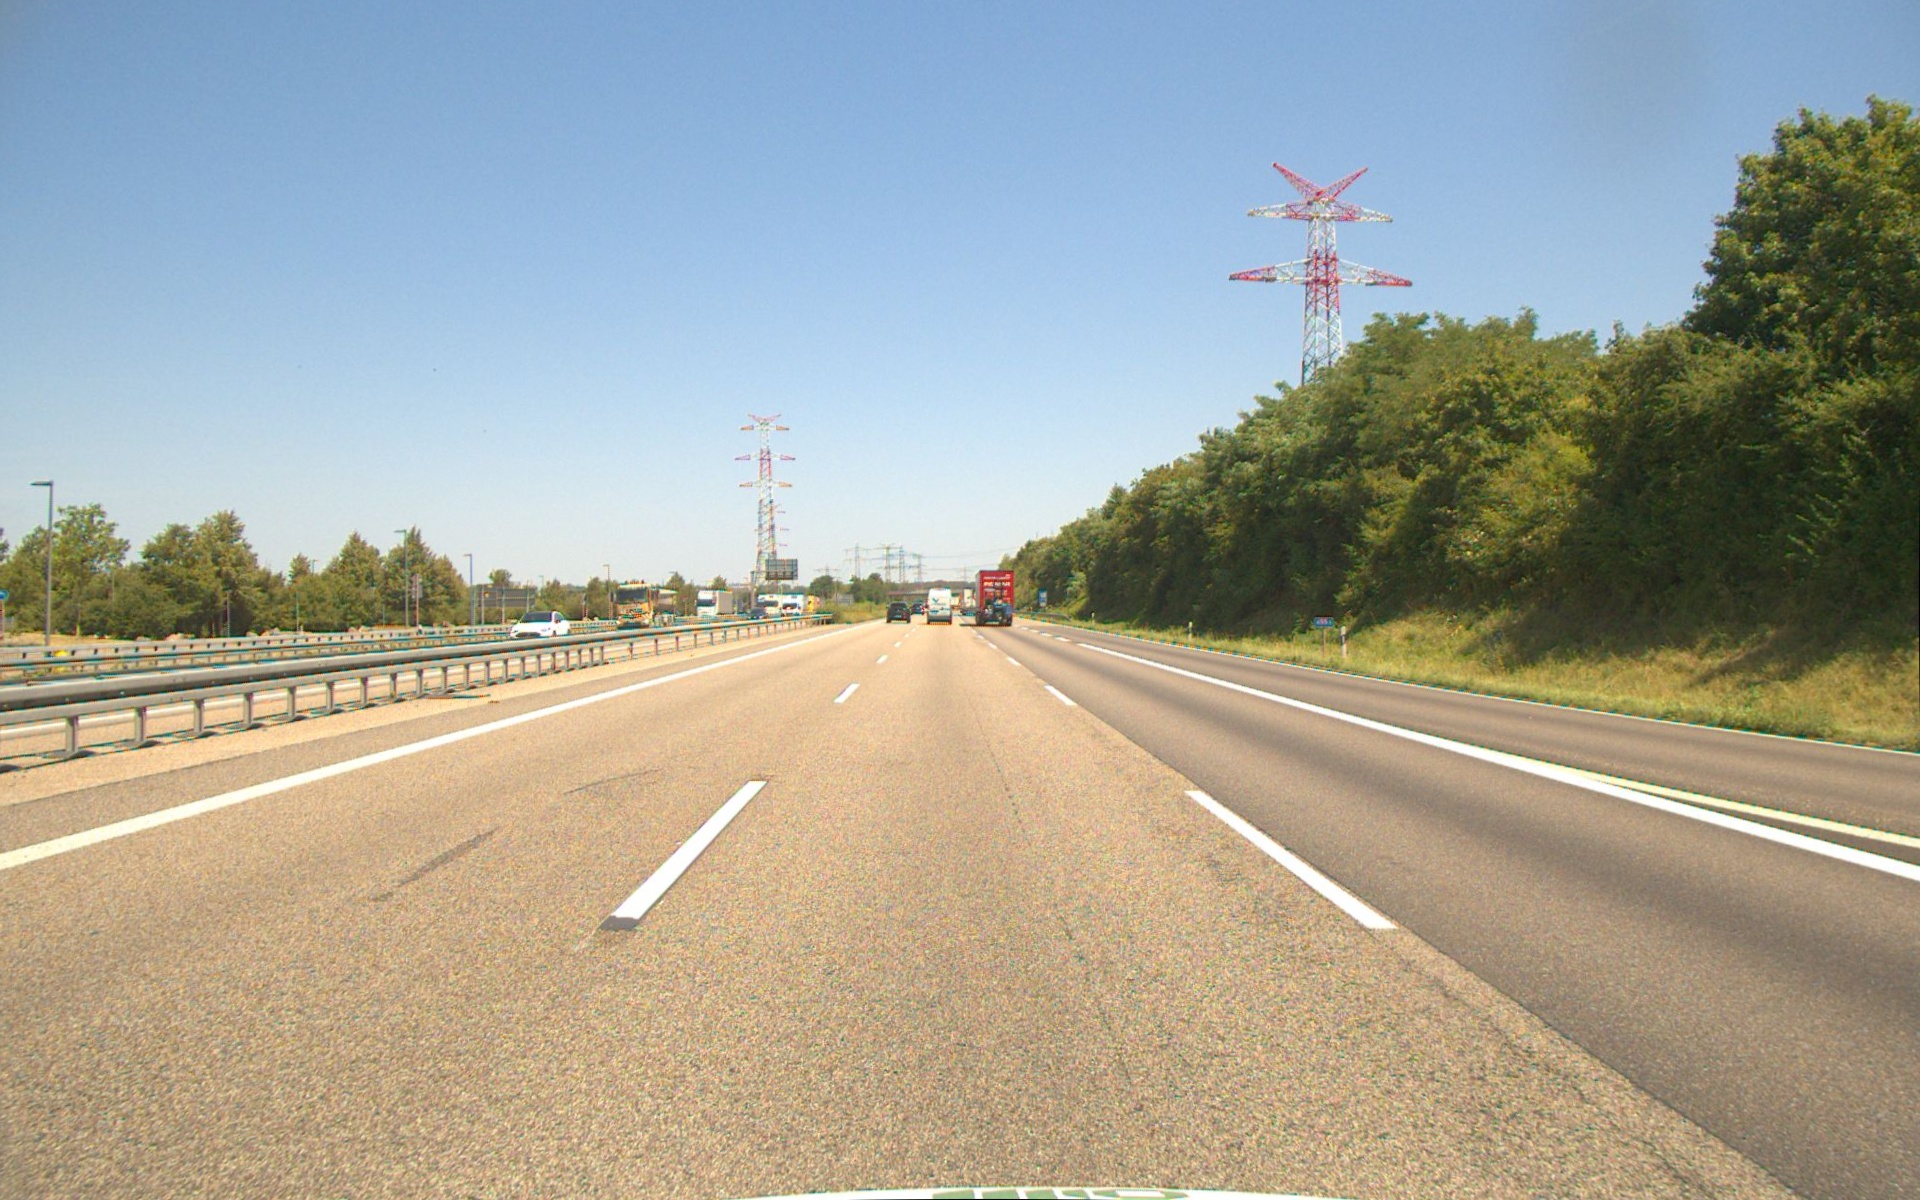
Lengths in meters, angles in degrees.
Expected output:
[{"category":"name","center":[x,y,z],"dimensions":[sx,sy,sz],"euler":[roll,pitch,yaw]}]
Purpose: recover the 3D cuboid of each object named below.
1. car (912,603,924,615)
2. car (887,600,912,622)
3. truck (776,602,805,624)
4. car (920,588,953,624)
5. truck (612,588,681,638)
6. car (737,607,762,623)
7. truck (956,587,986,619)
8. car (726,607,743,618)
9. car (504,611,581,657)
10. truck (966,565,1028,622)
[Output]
[{"category":"car","center":[-6.160,1.296,241.357],"dimensions":[1.712,1.662,4.002],"euler":[1,0,-1]},{"category":"car","center":[-4.940,0.894,135.363],"dimensions":[1.953,1.780,3.999],"euler":[1,0,-2]},{"category":"truck","center":[-19.758,1.510,193.067],"dimensions":[2.662,2.464,8.105],"euler":[-1,0,-1]},{"category":"car","center":[-1.871,0.444,132.613],"dimensions":[2.568,2.807,6.094],"euler":[1,0,-1]},{"category":"truck","center":[-22.248,0.908,118.204],"dimensions":[2.662,3.316,12.385],"euler":[-1,0,-1]},{"category":"car","center":[-18.606,1.330,146.358],"dimensions":[1.779,1.415,3.902],"euler":[-1,0,-2]},{"category":"truck","center":[1.631,0.474,251.552],"dimensions":[4.243,4.603,16.074],"euler":[1,0,-1]},{"category":"car","center":[-29.985,1.680,219.866],"dimensions":[1.779,1.415,3.902],"euler":[-1,0,-2]},{"category":"car","center":[-17.908,1.428,71.155],"dimensions":[2.011,1.875,5.471],"euler":[-1,0,-2]},{"category":"truck","center":[2.691,-0.481,127.281],"dimensions":[4.243,4.010,16.074],"euler":[1,0,-1]}]
